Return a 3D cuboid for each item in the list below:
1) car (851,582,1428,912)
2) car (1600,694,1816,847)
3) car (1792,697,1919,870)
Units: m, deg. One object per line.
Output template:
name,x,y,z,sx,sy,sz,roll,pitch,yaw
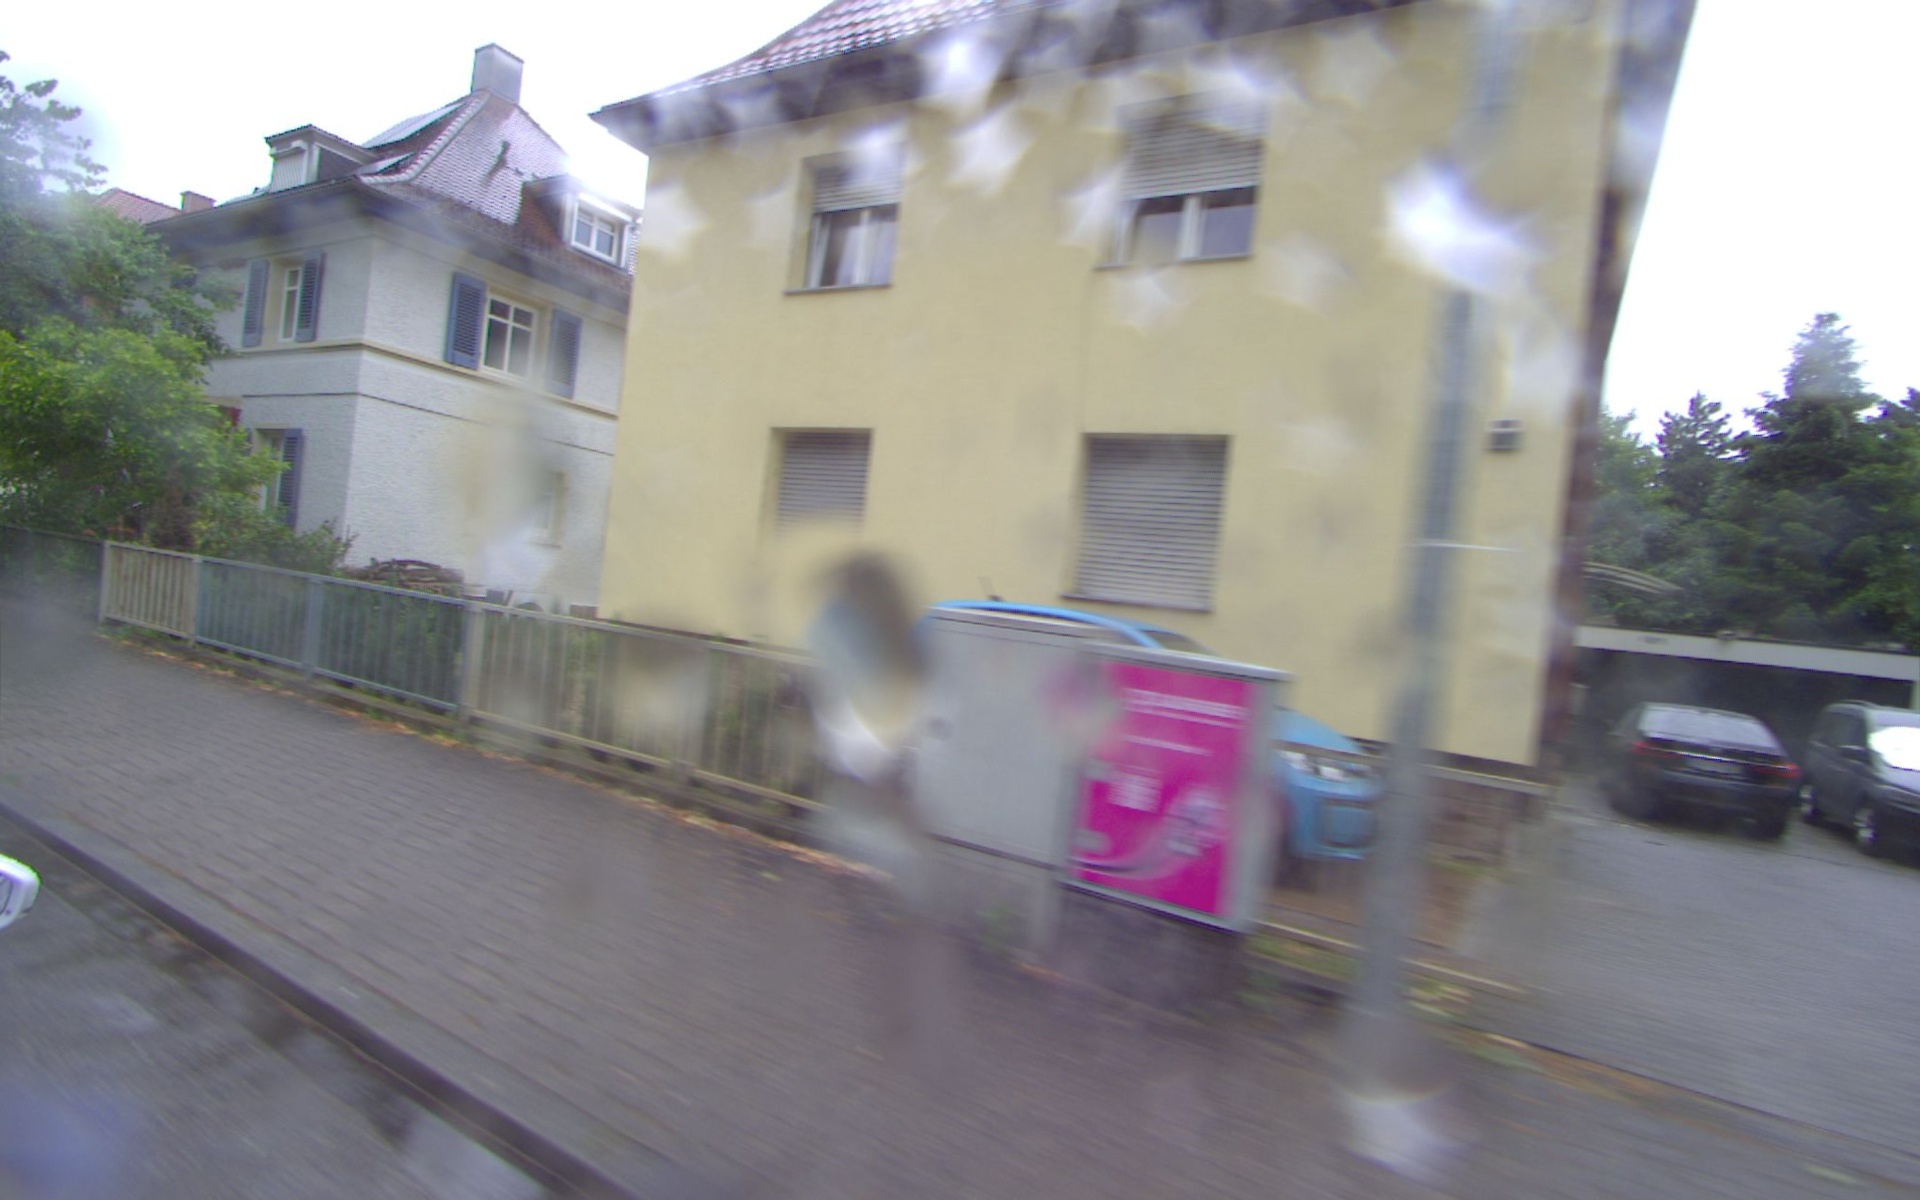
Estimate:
car,1.182,0.844,7.028,3.468,1.488,1.671,6,-1,33
car,10.037,2.192,13.786,1.817,1.528,3.520,7,-1,30
car,12.367,2.318,12.973,1.646,1.817,4.349,7,0,30
